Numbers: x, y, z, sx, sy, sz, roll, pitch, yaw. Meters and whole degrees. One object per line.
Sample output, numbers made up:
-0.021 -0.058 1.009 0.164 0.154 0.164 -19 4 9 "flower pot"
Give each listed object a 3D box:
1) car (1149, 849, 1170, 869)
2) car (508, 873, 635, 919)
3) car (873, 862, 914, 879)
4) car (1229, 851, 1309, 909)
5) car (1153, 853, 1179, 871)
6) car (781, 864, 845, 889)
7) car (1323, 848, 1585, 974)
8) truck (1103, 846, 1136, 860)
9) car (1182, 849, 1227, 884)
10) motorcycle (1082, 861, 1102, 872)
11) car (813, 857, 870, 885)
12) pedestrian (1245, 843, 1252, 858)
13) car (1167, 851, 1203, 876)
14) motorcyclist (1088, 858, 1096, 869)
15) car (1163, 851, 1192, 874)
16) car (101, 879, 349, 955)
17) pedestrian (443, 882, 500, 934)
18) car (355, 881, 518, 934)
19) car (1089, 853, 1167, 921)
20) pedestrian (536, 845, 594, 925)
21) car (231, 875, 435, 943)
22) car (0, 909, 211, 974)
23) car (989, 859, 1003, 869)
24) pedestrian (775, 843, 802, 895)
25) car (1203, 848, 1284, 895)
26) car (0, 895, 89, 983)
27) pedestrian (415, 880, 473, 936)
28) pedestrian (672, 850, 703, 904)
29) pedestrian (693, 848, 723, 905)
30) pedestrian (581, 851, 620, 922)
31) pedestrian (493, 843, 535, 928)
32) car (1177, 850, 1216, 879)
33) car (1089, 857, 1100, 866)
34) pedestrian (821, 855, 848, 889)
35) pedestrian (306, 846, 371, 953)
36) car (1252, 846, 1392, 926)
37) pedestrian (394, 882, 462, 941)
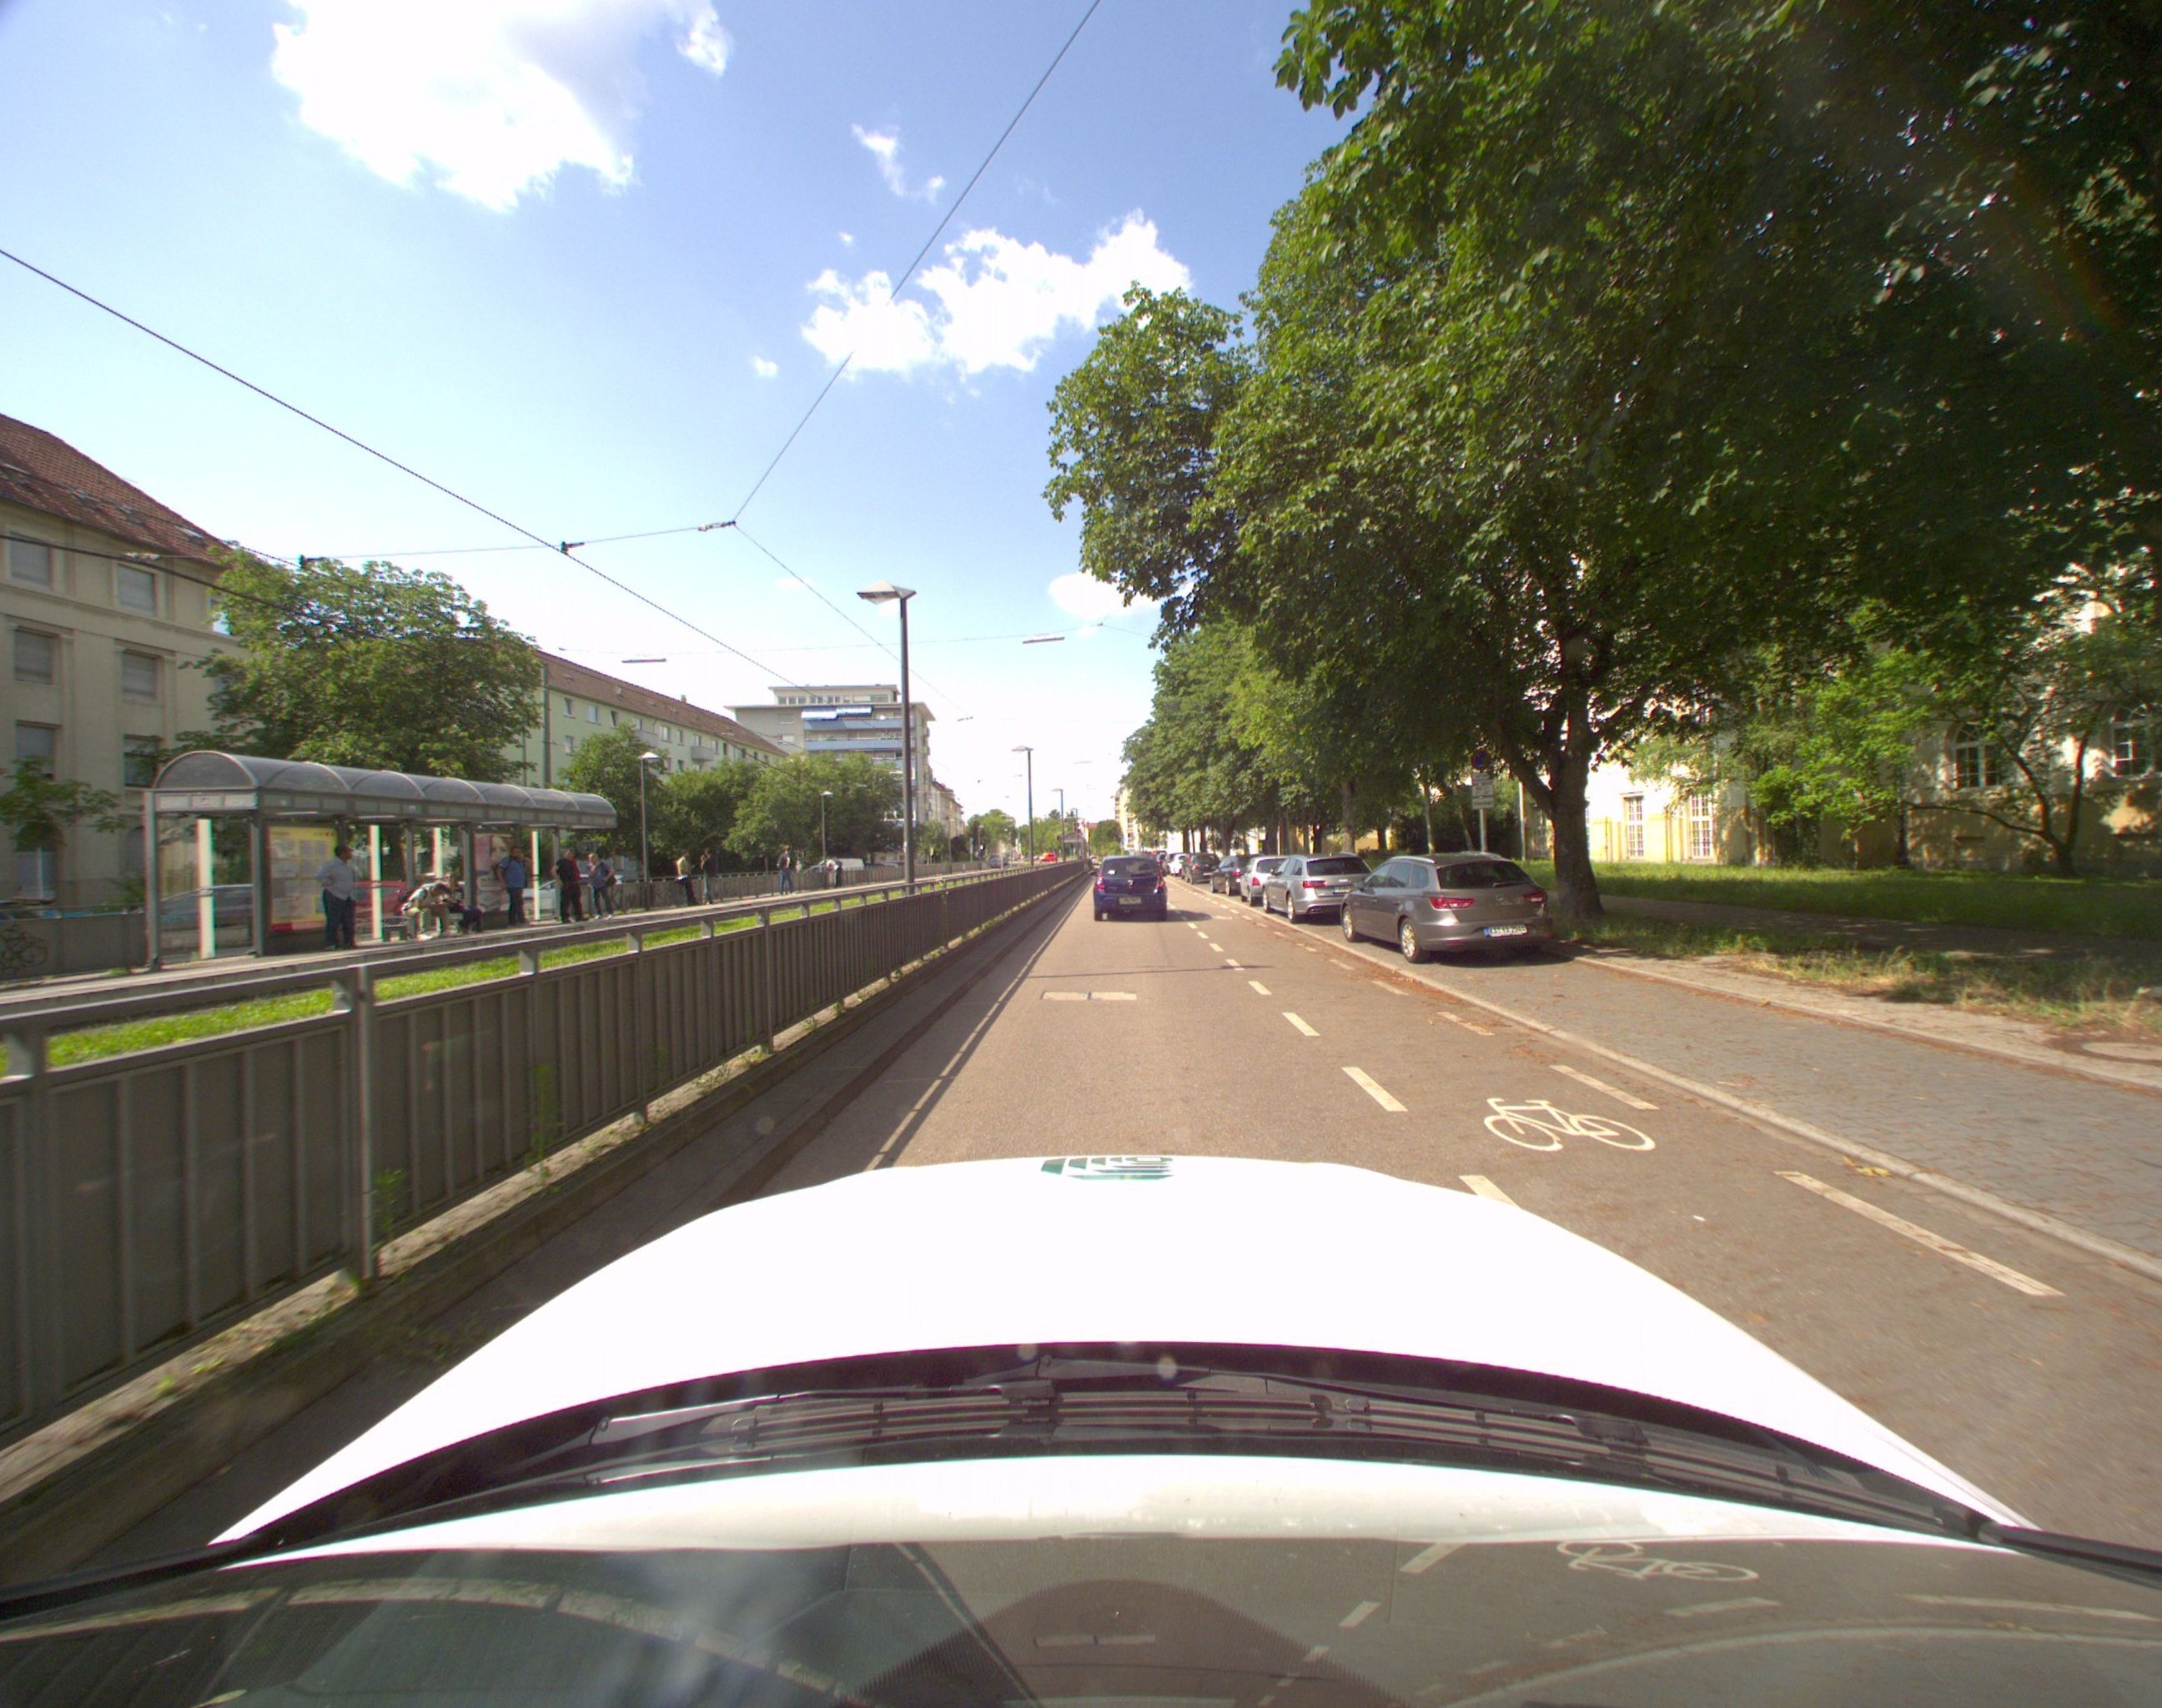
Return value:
7.759 0.458 80.891 1.815 1.896 4.188 -3 0 4 "car"
-20.742 1.675 33.216 4.174 1.565 1.904 -2 -1 -39 "car"
-18.804 1.678 81.879 3.677 1.579 1.634 -2 0 -29 "car"
5.463 0.707 24.109 1.628 1.431 4.020 -5 0 5 "car"
7.843 0.684 75.525 1.910 1.442 4.797 -4 0 1 "car"
-19.565 1.605 59.477 4.017 1.639 1.808 -2 1 -35 "car"
5.315 0.699 12.410 1.823 1.400 4.657 -5 0 1 "car"
10.125 -0.226 217.093 8.343 3.185 2.600 -5 0 -5 "truck"
6.238 0.620 41.591 1.684 1.561 4.310 -5 0 2 "car"
1.452 1.675 108.149 2.504 1.339 1.016 -2 0 -4 "motorcycle"
-19.190 1.361 65.185 3.963 2.070 2.030 -2 0 -29 "car"
18.207 -0.327 88.634 0.629 1.596 0.540 -2 -1 -1 "pedestrian"
7.029 0.619 55.517 1.829 1.523 4.252 -4 0 0 "car"
1.475 1.247 108.201 0.980 1.339 0.941 -2 0 -1 "motorcyclist"
7.197 0.608 61.117 1.718 1.583 4.680 -3 0 3 "car"
-21.458 1.509 20.658 4.014 1.568 1.593 -2 0 -32 "car"
-12.558 1.109 16.799 0.702 0.995 0.562 -3 -1 -1 "pedestrian"
-21.057 1.688 26.772 4.043 1.391 1.795 -2 1 -39 "car"
1.117 0.737 20.175 1.737 1.507 4.001 0 0 2 "car"
-11.827 0.695 18.696 0.630 1.743 1.036 -2 -1 -1 "pedestrian"
-21.382 1.521 23.554 4.156 1.640 1.814 -2 -1 -38 "car"
-21.986 1.866 17.569 4.009 1.150 1.777 0 0 -28 "car"
-13.673 1.609 131.142 1.988 1.645 3.997 0 -1 -2 "car"
-10.960 0.558 30.520 0.747 1.892 0.639 -2 -3 4 "pedestrian"
5.865 0.650 29.993 1.826 1.467 4.828 -4 -1 -1 "car"
-21.628 1.606 14.946 4.016 1.529 1.655 0 0 -35 "car"
-12.615 1.056 16.134 0.652 1.031 0.562 -3 -1 -1 "pedestrian"
-12.362 0.716 25.588 0.604 1.674 0.625 -2 -1 2 "pedestrian"
-11.706 0.693 25.540 0.601 1.754 0.629 -3 -2 42 "pedestrian"
-11.433 0.752 19.380 0.597 1.632 0.556 -2 0 -12 "pedestrian"
-12.472 0.690 17.929 0.441 1.827 0.623 -2 -1 -1 "pedestrian"
6.594 0.624 46.782 1.551 1.461 3.557 -5 -1 0 "car"
2.140 1.154 131.026 1.618 1.465 3.507 0 -1 -2 "car"
-11.850 0.881 39.211 0.985 1.578 0.798 -2 -1 -1 "pedestrian"
-12.439 0.747 13.656 0.485 1.726 0.623 -1 -1 -1 "pedestrian"
5.360 0.633 18.844 1.822 1.441 5.052 -5 0 2 "car"
-12.241 1.062 15.291 0.717 1.031 0.623 -3 -1 -1 "pedestrian"
